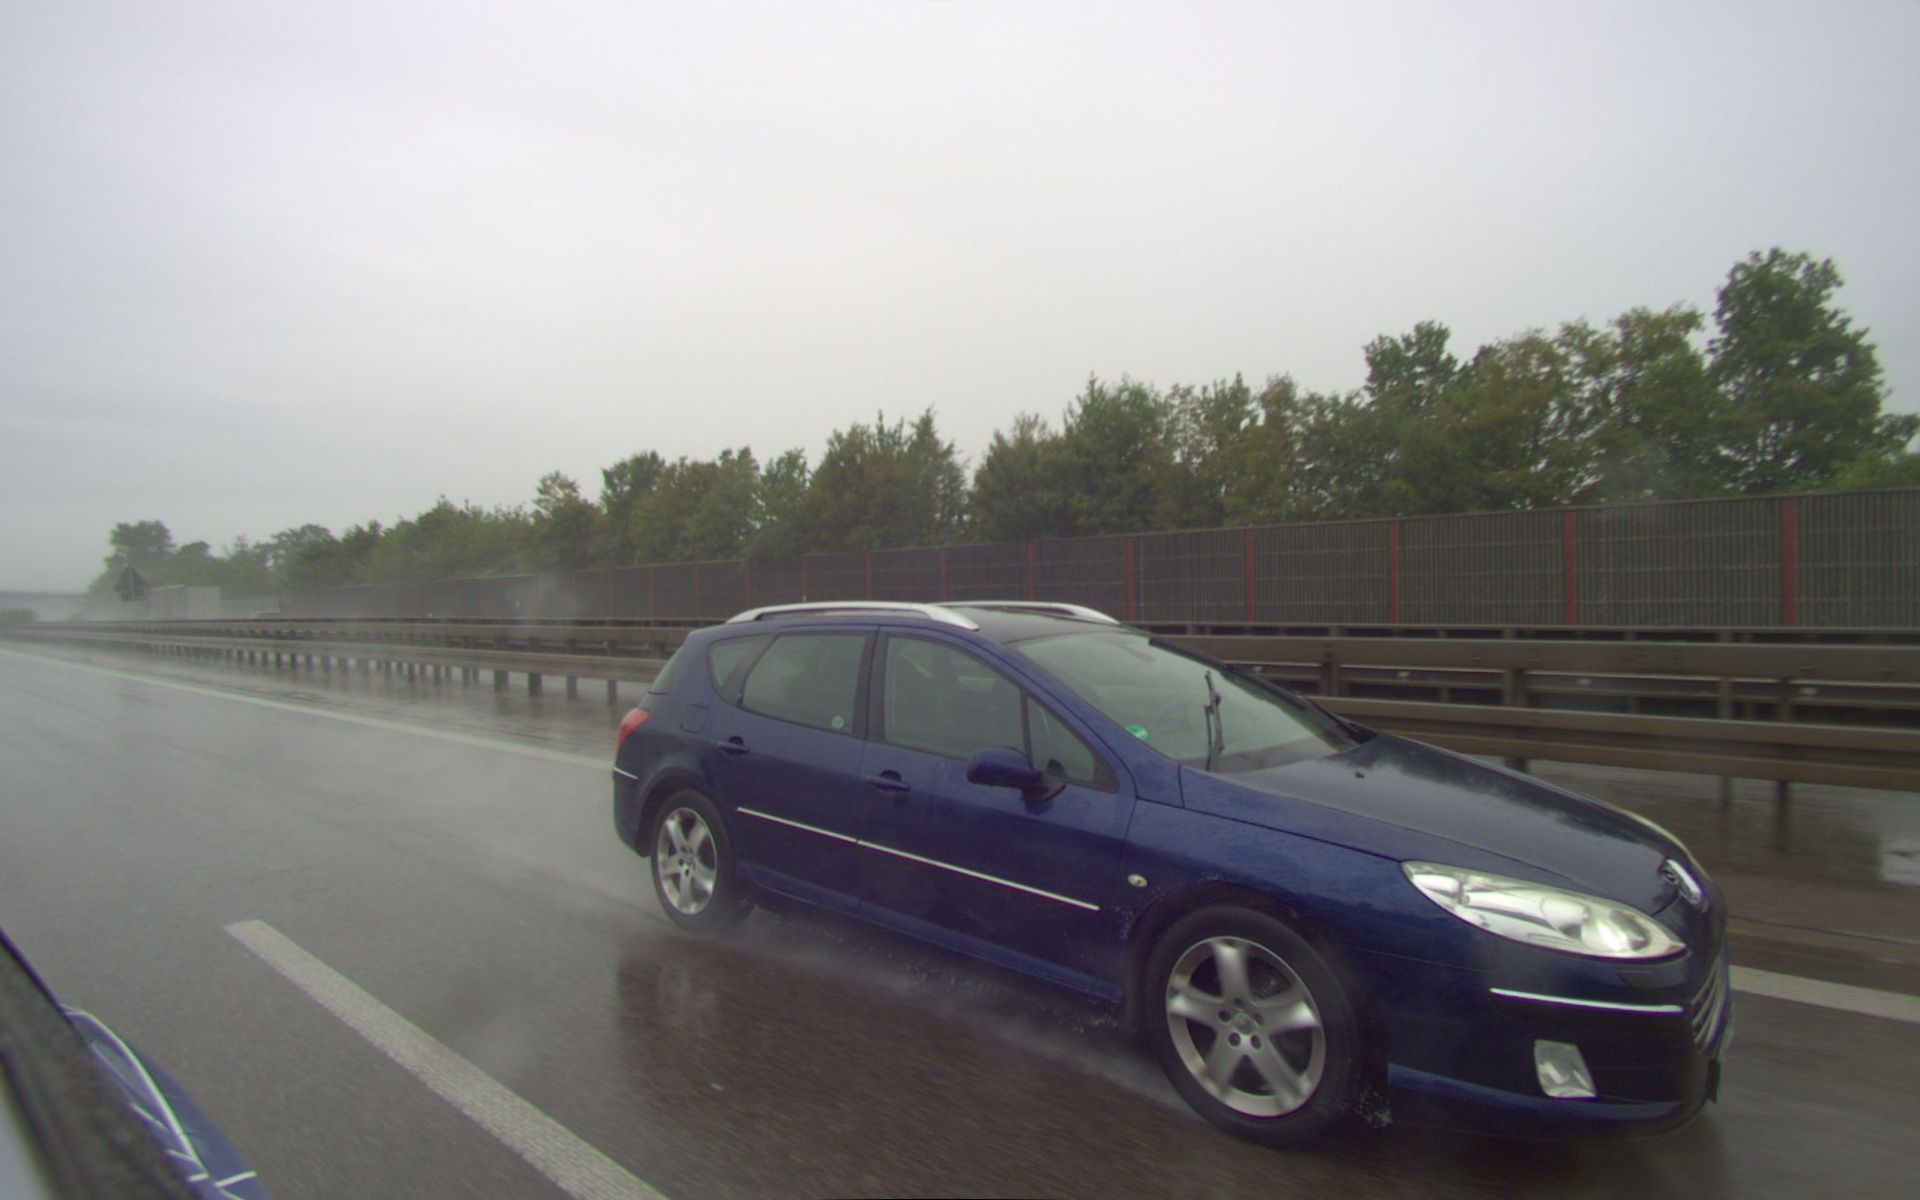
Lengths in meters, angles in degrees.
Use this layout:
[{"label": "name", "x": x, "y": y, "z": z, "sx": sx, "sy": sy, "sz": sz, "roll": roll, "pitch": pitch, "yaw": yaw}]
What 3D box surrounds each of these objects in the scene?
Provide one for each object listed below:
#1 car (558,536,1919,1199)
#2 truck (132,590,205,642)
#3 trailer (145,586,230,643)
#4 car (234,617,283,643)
[{"label": "car", "x": 0.659, "y": 0.685, "z": 3.974, "sx": 5.155, "sy": 1.496, "sz": 2.033, "roll": -2, "pitch": -1, "yaw": 41}, {"label": "truck", "x": -75.273, "y": 1.576, "z": 96.146, "sx": 9.489, "sy": 4.674, "sz": 3.795, "roll": -2, "pitch": -1, "yaw": 42}, {"label": "trailer", "x": -69.543, "y": 1.360, "z": 90.985, "sx": 12.239, "sy": 4.731, "sz": 3.828, "roll": -2, "pitch": -1, "yaw": 42}, {"label": "car", "x": -48.816, "y": 2.086, "z": 70.420, "sx": 3.999, "sy": 1.748, "sz": 1.972, "roll": -2, "pitch": -1, "yaw": 42}]
